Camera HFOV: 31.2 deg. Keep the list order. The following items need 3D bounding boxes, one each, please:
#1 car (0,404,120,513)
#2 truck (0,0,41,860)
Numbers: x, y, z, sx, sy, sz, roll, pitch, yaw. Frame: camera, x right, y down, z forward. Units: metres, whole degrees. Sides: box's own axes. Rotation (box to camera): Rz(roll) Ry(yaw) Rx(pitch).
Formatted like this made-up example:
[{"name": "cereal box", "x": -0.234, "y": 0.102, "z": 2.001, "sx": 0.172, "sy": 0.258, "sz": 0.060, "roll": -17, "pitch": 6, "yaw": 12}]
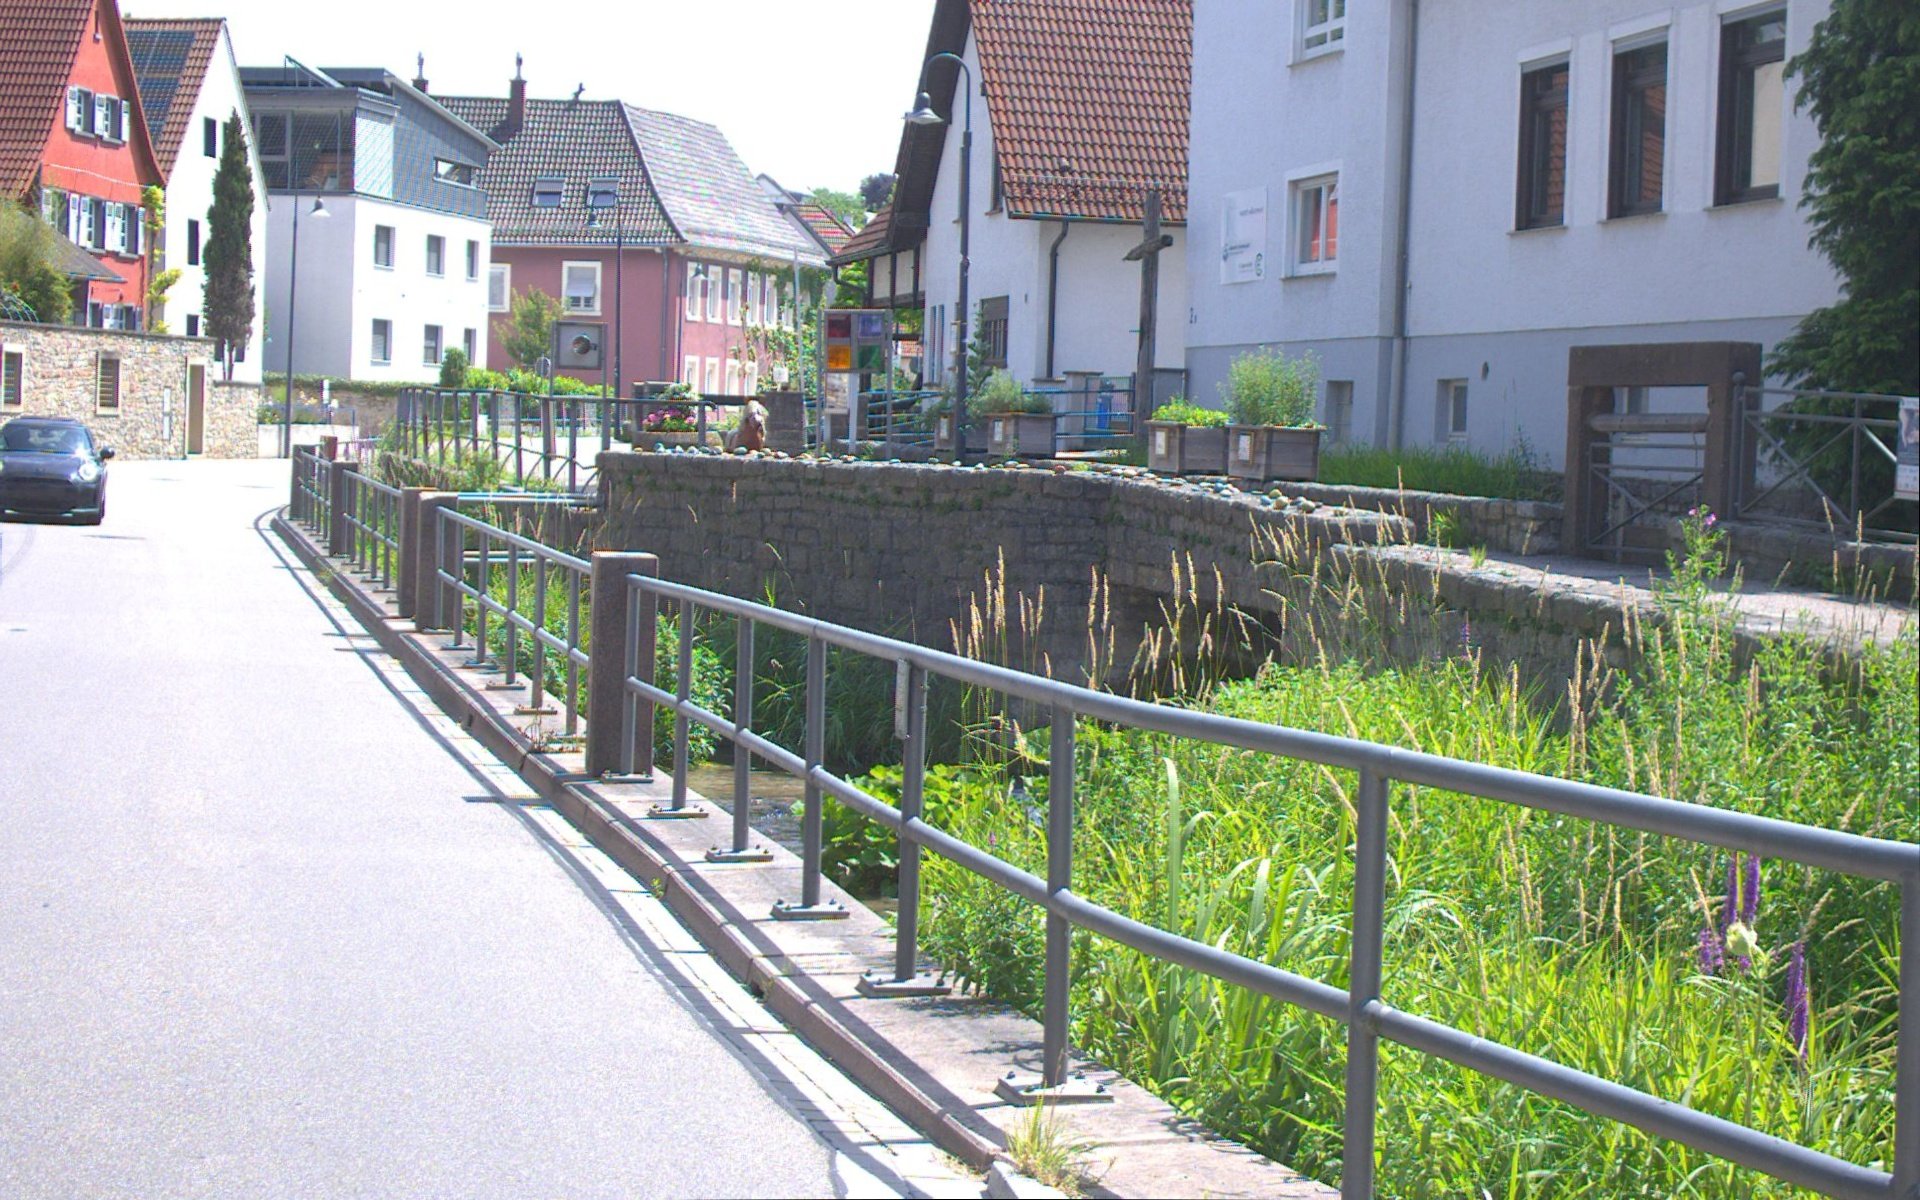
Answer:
[{"name": "car", "x": -12.963, "y": -2.039, "z": 49.341, "sx": 1.698, "sy": 1.460, "sz": 4.437, "roll": 0, "pitch": 2, "yaw": -14}, {"name": "truck", "x": -4.291, "y": -0.712, "z": 9.590, "sx": 2.411, "sy": 3.645, "sz": 9.571, "roll": 0, "pitch": 2, "yaw": -10}]
